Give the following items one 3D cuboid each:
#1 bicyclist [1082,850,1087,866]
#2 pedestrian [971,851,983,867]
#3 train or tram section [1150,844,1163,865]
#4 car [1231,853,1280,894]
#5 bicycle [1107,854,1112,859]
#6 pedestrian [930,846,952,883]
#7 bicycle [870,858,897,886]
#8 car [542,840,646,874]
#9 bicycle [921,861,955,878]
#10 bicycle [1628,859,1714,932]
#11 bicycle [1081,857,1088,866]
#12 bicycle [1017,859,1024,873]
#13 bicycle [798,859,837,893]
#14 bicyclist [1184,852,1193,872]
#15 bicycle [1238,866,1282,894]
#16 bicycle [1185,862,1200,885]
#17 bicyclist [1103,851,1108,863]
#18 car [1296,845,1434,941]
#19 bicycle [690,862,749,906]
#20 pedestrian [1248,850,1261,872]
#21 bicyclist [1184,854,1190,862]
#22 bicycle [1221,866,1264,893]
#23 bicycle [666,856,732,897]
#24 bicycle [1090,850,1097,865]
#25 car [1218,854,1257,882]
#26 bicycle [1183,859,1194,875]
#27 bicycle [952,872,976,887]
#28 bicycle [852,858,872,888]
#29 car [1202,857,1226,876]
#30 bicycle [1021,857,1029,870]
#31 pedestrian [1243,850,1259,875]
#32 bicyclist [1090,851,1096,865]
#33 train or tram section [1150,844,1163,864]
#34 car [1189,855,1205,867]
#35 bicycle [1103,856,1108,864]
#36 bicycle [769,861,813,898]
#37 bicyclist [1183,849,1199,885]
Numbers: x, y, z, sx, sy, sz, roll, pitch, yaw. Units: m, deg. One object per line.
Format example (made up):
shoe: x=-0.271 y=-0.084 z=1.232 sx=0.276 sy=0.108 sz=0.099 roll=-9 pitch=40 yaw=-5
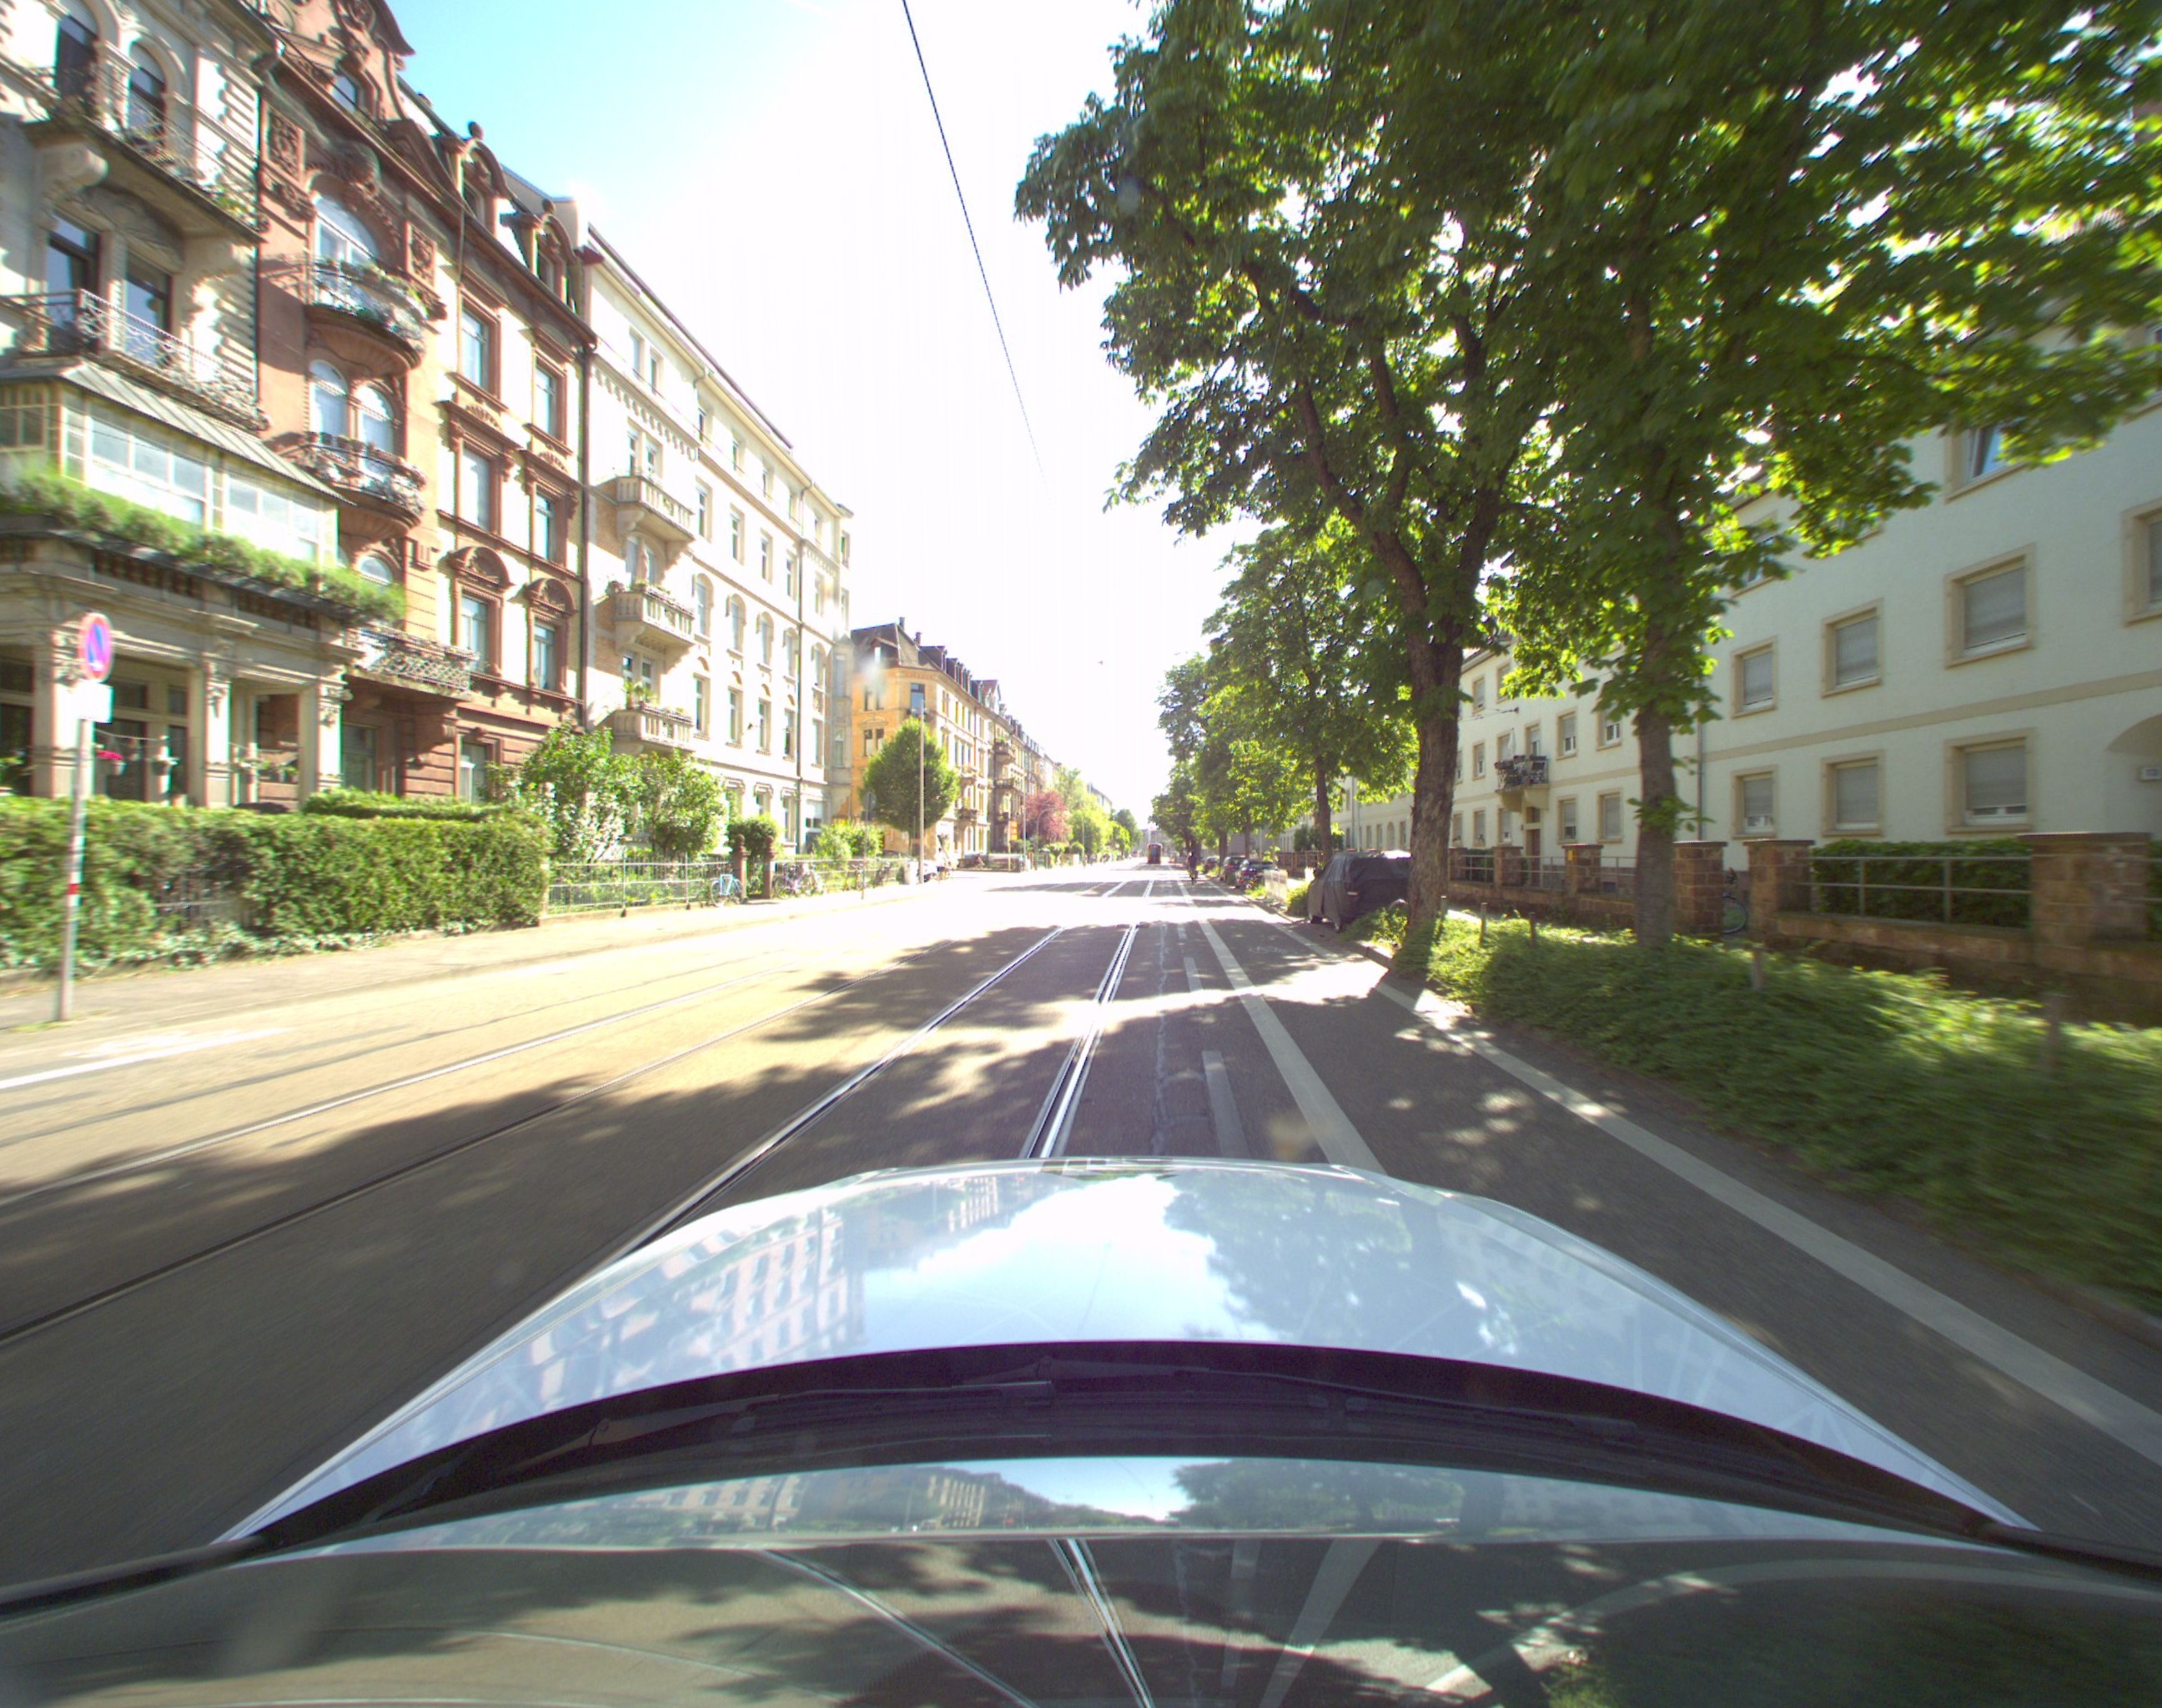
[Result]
bicyclist: x=0.350 y=0.391 z=83.692 sx=0.462 sy=1.618 sz=0.745 roll=-2 pitch=0 yaw=6
pedestrian: x=-8.611 y=0.420 z=67.500 sx=0.896 sy=1.352 sz=0.578 roll=-1 pitch=-1 yaw=7
train or tram section: x=12.694 y=0.029 z=137.003 sx=2.143 sy=3.431 sz=6.621 roll=2 pitch=0 yaw=5
car: x=8.010 y=0.844 z=37.629 sx=1.658 sy=1.761 sz=4.237 roll=1 pitch=0 yaw=5
bicycle: x=5.594 y=0.477 z=159.895 sx=0.633 sy=1.069 sz=1.825 roll=2 pitch=0 yaw=-11
pedestrian: x=-6.726 y=0.506 z=39.128 sx=0.827 sy=1.724 sz=1.082 roll=2 pitch=-1 yaw=-1
bicycle: x=-7.896 y=0.716 z=32.530 sx=0.567 sy=1.033 sz=1.750 roll=1 pitch=2 yaw=-31
car: x=-25.971 y=0.173 z=43.495 sx=4.421 sy=1.643 sz=1.971 roll=2 pitch=0 yaw=8
bicycle: x=-8.150 y=0.897 z=46.494 sx=1.794 sy=0.914 sz=0.615 roll=2 pitch=-2 yaw=-30
bicycle: x=10.689 y=0.717 z=14.813 sx=0.445 sy=1.238 sz=1.677 roll=0 pitch=0 yaw=4
bicycle: x=0.353 y=0.761 z=83.708 sx=0.458 sy=0.926 sz=2.206 roll=-1 pitch=0 yaw=6
bicycle: x=-4.919 y=0.944 z=66.430 sx=0.369 sy=1.126 sz=0.810 roll=2 pitch=0 yaw=6
bicycle: x=-8.776 y=0.719 z=27.149 sx=0.560 sy=1.033 sz=1.770 roll=2 pitch=0 yaw=5
bicyclist: x=7.858 y=0.596 z=59.519 sx=0.632 sy=1.468 sz=0.617 roll=2 pitch=0 yaw=5
bicycle: x=7.486 y=1.082 z=34.086 sx=1.752 sy=1.078 sz=0.434 roll=2 pitch=0 yaw=6
bicycle: x=5.784 y=1.006 z=42.170 sx=0.688 sy=1.112 sz=1.721 roll=2 pitch=0 yaw=6
bicyclist: x=3.505 y=0.457 z=117.382 sx=0.657 sy=1.801 sz=0.617 roll=-2 pitch=-1 yaw=5
car: x=5.954 y=0.726 z=17.611 sx=1.735 sy=1.766 sz=4.484 roll=2 pitch=0 yaw=5
bicycle: x=-9.460 y=0.751 z=21.390 sx=0.560 sy=1.033 sz=1.771 roll=2 pitch=1 yaw=6
pedestrian: x=13.553 y=0.538 z=63.478 sx=0.755 sy=1.724 sz=0.583 roll=2 pitch=0 yaw=35
bicyclist: x=18.529 y=0.715 z=142.043 sx=0.765 sy=1.291 sz=0.737 roll=2 pitch=0 yaw=22
bicycle: x=6.855 y=1.077 z=34.634 sx=1.752 sy=1.078 sz=0.434 roll=2 pitch=0 yaw=6
bicycle: x=-10.641 y=0.615 z=22.691 sx=1.567 sy=1.033 sz=0.480 roll=4 pitch=0 yaw=4
bicycle: x=1.593 y=0.436 z=105.118 sx=0.659 sy=1.859 sz=2.264 roll=2 pitch=0 yaw=7
car: x=9.070 y=0.787 z=47.523 sx=1.712 sy=1.473 sz=4.251 roll=-1 pitch=0 yaw=4
bicycle: x=7.825 y=0.942 z=59.482 sx=0.688 sy=1.112 sz=1.920 roll=2 pitch=0 yaw=6
bicycle: x=-7.184 y=1.544 z=49.900 sx=1.298 sy=0.914 sz=0.615 roll=2 pitch=-2 yaw=-30
bicycle: x=-8.383 y=0.713 z=31.156 sx=0.565 sy=1.033 sz=1.757 roll=4 pitch=0 yaw=-19
car: x=11.057 y=1.034 z=67.917 sx=1.778 sy=1.464 sz=4.051 roll=0 pitch=0 yaw=5
bicycle: x=-4.687 y=0.780 z=67.992 sx=0.333 sy=1.001 sz=1.873 roll=2 pitch=0 yaw=6
pedestrian: x=12.060 y=0.585 z=57.731 sx=0.602 sy=1.771 sz=0.906 roll=-2 pitch=0 yaw=-25
bicyclist: x=1.491 y=0.495 z=104.537 sx=0.642 sy=1.796 sz=0.957 roll=2 pitch=0 yaw=5
train or tram section: x=13.331 y=0.011 z=143.623 sx=2.143 sy=3.431 sz=6.621 roll=2 pitch=0 yaw=5
car: x=14.715 y=0.868 z=103.501 sx=1.622 sy=1.436 sz=4.668 roll=0 pitch=0 yaw=3
bicycle: x=3.530 y=0.861 z=117.453 sx=0.688 sy=1.112 sz=1.721 roll=-1 pitch=0 yaw=6
bicycle: x=-8.940 y=0.771 z=25.145 sx=0.560 sy=1.033 sz=1.770 roll=2 pitch=0 yaw=5
bicyclist: x=5.689 y=0.676 z=42.145 sx=0.724 sy=1.848 sz=0.838 roll=2 pitch=0 yaw=5
